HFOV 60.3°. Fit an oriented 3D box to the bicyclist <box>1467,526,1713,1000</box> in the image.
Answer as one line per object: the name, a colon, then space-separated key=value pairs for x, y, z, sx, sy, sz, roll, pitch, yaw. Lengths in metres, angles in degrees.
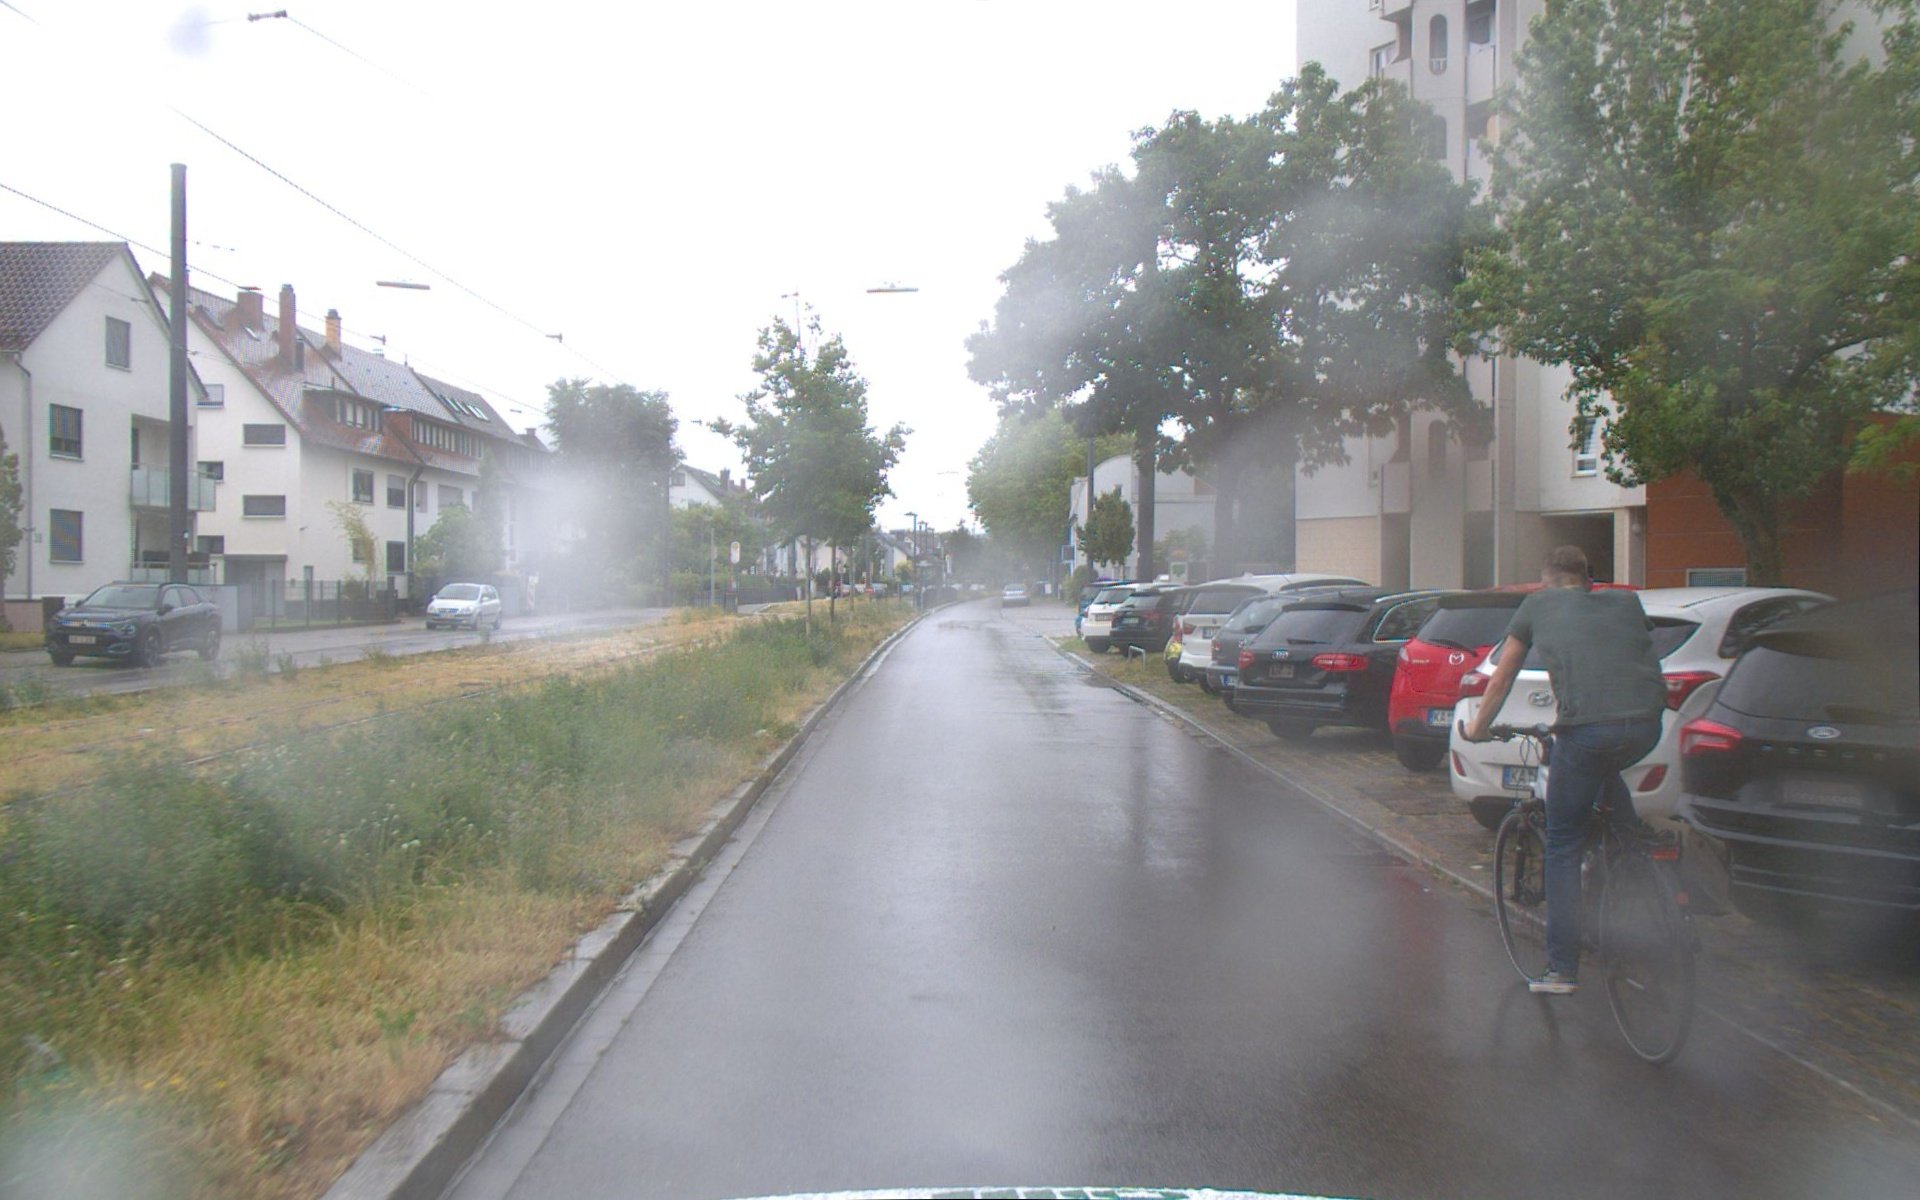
bicyclist: x=2.243 y=0.550 z=5.955 sx=0.524 sy=1.587 sz=0.771 roll=1 pitch=-1 yaw=-6

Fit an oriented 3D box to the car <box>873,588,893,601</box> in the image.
car: x=-9.298 y=-0.606 z=200.896 sx=1.888 sy=1.512 sz=4.002 roll=1 pitch=0 yaw=5

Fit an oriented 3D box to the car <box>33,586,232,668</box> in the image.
car: x=-15.827 y=0.500 z=31.895 sx=1.799 sy=1.452 sz=4.173 roll=1 pitch=0 yaw=-2

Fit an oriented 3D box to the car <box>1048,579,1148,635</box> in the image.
car: x=3.998 y=0.199 z=47.918 sx=2.541 sy=1.575 sz=1.580 roll=0 pitch=0 yaw=-40

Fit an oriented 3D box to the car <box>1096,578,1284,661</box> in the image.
car: x=4.868 y=0.371 z=34.787 sx=3.904 sy=1.456 sz=1.662 roll=-4 pitch=2 yaw=-37

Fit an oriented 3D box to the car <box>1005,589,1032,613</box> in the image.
car: x=3.835 y=0.074 z=108.165 sx=1.616 sy=1.430 sz=4.650 roll=-3 pitch=-1 yaw=2

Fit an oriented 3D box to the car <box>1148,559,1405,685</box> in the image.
car: x=5.090 y=0.287 z=26.326 sx=4.142 sy=1.700 sz=1.662 roll=-4 pitch=2 yaw=-38

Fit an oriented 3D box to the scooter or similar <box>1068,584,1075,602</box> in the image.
scooter or similar: x=7.141 y=-0.441 z=105.922 sx=0.326 sy=1.104 sz=1.397 roll=1 pitch=0 yaw=7

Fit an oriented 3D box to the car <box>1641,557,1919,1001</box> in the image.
car: x=5.165 y=0.556 z=7.391 sx=4.405 sy=1.569 sz=1.666 roll=-4 pitch=1 yaw=-33

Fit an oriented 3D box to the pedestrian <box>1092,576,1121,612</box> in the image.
pedestrian: x=6.385 y=-0.251 z=72.146 sx=0.826 sy=1.544 sz=1.084 roll=1 pitch=-1 yaw=-29

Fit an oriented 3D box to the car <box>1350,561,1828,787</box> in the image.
car: x=5.407 y=0.499 z=13.941 sx=4.418 sy=1.453 sz=1.784 roll=-4 pitch=2 yaw=-39

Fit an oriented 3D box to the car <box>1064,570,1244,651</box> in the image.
car: x=4.483 y=0.203 z=37.949 sx=4.148 sy=1.574 sz=1.739 roll=-4 pitch=2 yaw=-40

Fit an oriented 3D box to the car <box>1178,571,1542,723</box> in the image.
car: x=4.829 y=0.475 z=19.713 sx=4.411 sy=1.434 sz=1.746 roll=-4 pitch=2 yaw=-35

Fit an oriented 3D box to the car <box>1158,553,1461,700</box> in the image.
car: x=4.945 y=0.296 z=23.081 sx=4.420 sy=1.700 sz=1.787 roll=-4 pitch=2 yaw=-40

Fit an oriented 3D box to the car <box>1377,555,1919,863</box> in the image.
car: x=4.920 y=0.540 z=10.850 sx=4.411 sy=1.490 sz=1.797 roll=-4 pitch=2 yaw=-35

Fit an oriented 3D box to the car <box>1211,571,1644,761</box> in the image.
car: x=4.684 y=0.550 z=16.288 sx=4.409 sy=1.453 sz=1.664 roll=-4 pitch=2 yaw=-34

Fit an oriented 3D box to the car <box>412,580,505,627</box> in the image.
car: x=-16.281 y=0.129 z=53.857 sx=1.953 sy=1.438 sz=3.657 roll=1 pitch=0 yaw=-2

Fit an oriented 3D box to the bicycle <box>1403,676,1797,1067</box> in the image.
bicycle: x=2.233 y=0.878 z=6.057 sx=0.526 sy=1.112 sz=1.946 roll=1 pitch=0 yaw=-5
